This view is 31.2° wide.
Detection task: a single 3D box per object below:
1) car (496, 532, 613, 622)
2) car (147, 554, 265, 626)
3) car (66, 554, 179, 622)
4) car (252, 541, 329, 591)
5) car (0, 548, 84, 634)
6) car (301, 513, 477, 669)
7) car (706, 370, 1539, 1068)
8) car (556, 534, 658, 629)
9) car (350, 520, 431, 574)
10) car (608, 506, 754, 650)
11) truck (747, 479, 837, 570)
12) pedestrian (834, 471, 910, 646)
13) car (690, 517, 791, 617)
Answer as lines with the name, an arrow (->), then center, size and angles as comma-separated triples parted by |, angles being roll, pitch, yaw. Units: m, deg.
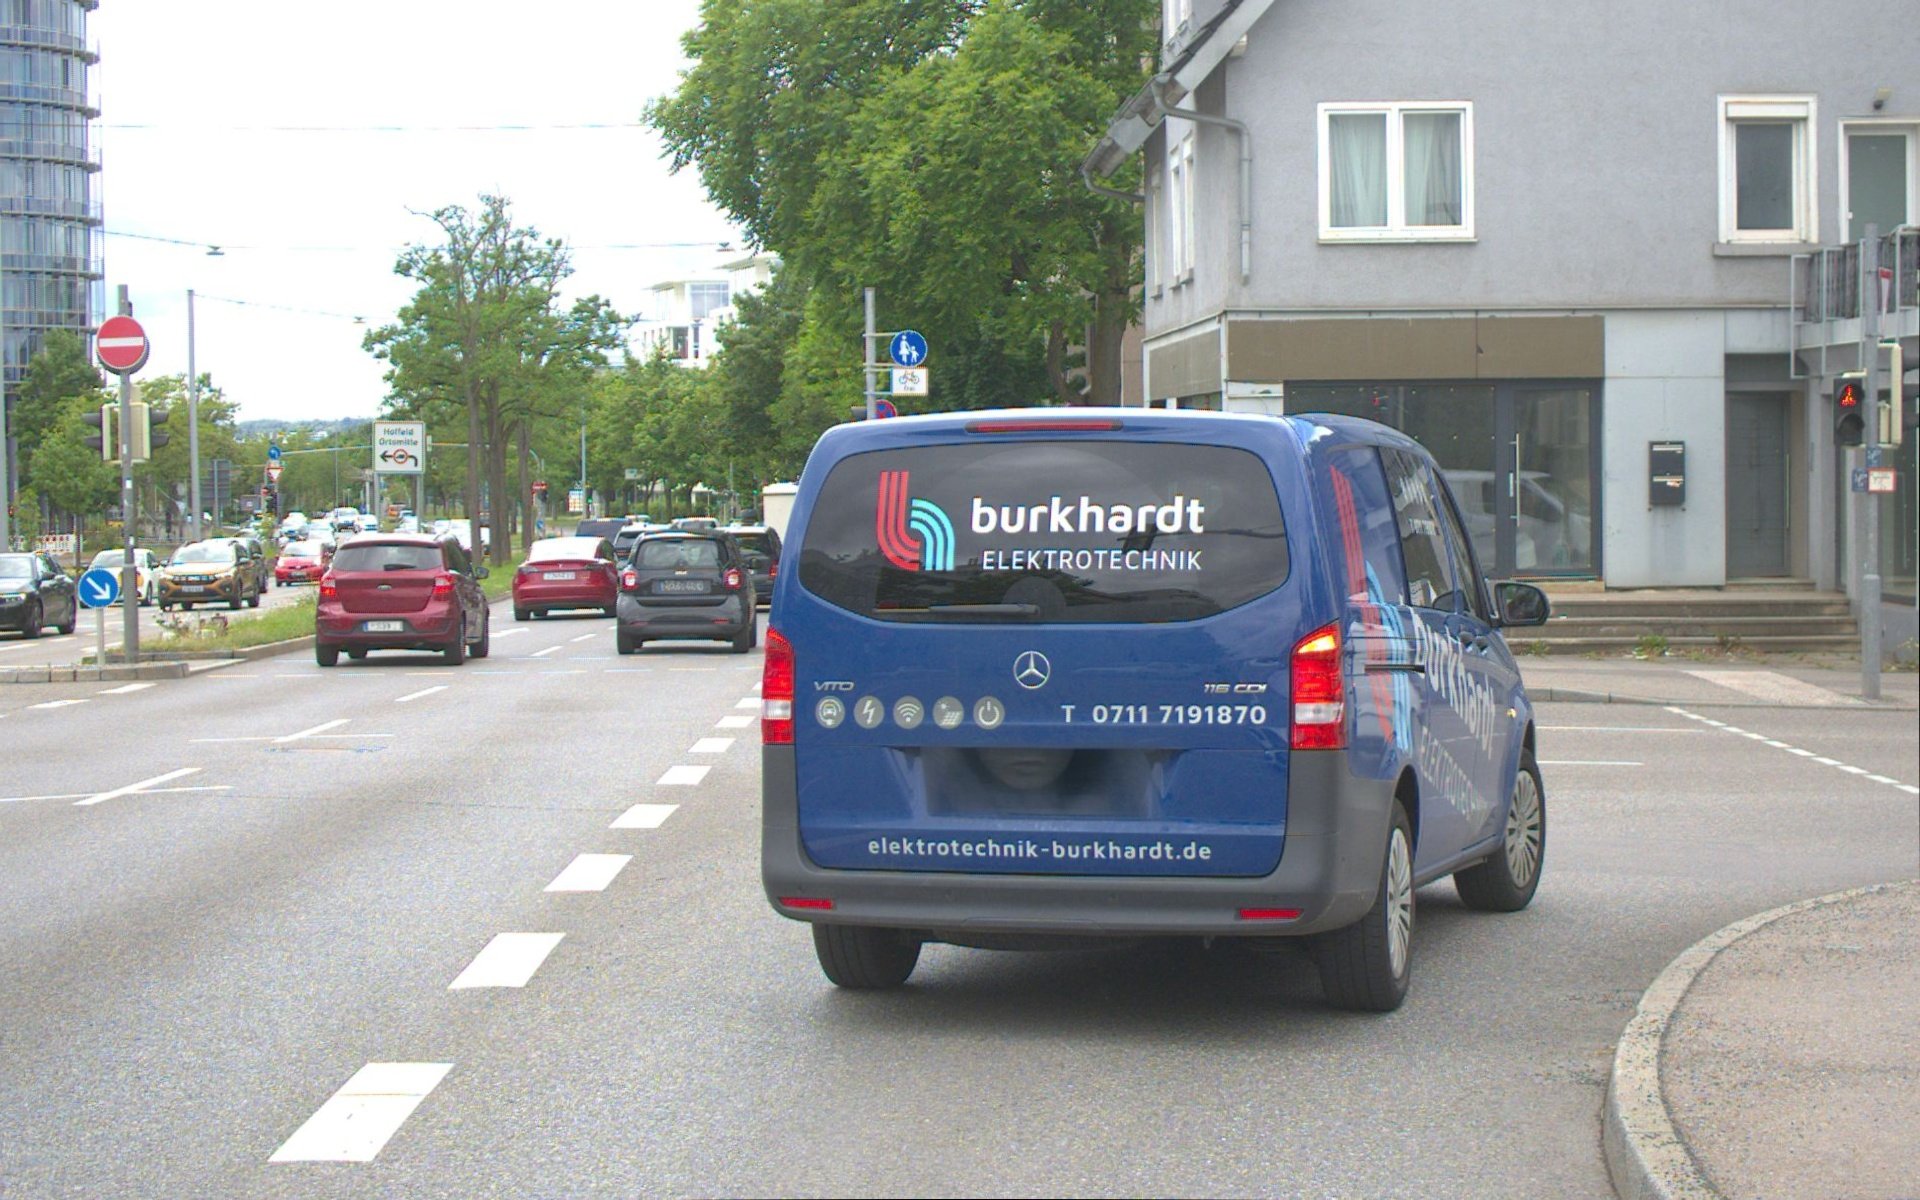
car -> -7.291, -0.381, 61.587 | 1.868, 1.481, 4.001 | -1, -1, -9
car -> -16.951, -0.250, 77.460 | 1.993, 1.511, 4.001 | -1, 1, -4
car -> -20.635, -0.315, 84.828 | 1.993, 1.568, 4.001 | -1, 1, -3
car -> -22.285, -1.145, 114.506 | 1.993, 1.568, 4.001 | -1, 1, -4
car -> -15.554, -0.163, 56.292 | 1.993, 1.327, 4.446 | -1, 1, -10
car -> -6.692, -0.138, 40.622 | 1.746, 1.717, 4.001 | -1, 1, -5
car -> 0.805, 0.307, 12.090 | 1.949, 1.959, 4.538 | 0, 1, 16
car -> -7.942, -0.439, 77.108 | 1.993, 2.006, 4.001 | 0, 2, -10
car -> -17.411, -1.626, 105.204 | 1.993, 1.568, 4.001 | -1, 1, -3
car -> -3.522, -0.306, 43.811 | 1.746, 1.717, 4.001 | -1, 1, -4
truck -> -4.162, -1.876, 86.086 | 1.993, 2.158, 5.559 | 1, 1, -1
pedestrian -> -1.023, -0.482, 40.114 | 0.771, 2.007, 0.877 | -1, 1, 4
car -> -3.965, -0.621, 62.612 | 1.746, 1.717, 4.001 | -1, 1, -3
